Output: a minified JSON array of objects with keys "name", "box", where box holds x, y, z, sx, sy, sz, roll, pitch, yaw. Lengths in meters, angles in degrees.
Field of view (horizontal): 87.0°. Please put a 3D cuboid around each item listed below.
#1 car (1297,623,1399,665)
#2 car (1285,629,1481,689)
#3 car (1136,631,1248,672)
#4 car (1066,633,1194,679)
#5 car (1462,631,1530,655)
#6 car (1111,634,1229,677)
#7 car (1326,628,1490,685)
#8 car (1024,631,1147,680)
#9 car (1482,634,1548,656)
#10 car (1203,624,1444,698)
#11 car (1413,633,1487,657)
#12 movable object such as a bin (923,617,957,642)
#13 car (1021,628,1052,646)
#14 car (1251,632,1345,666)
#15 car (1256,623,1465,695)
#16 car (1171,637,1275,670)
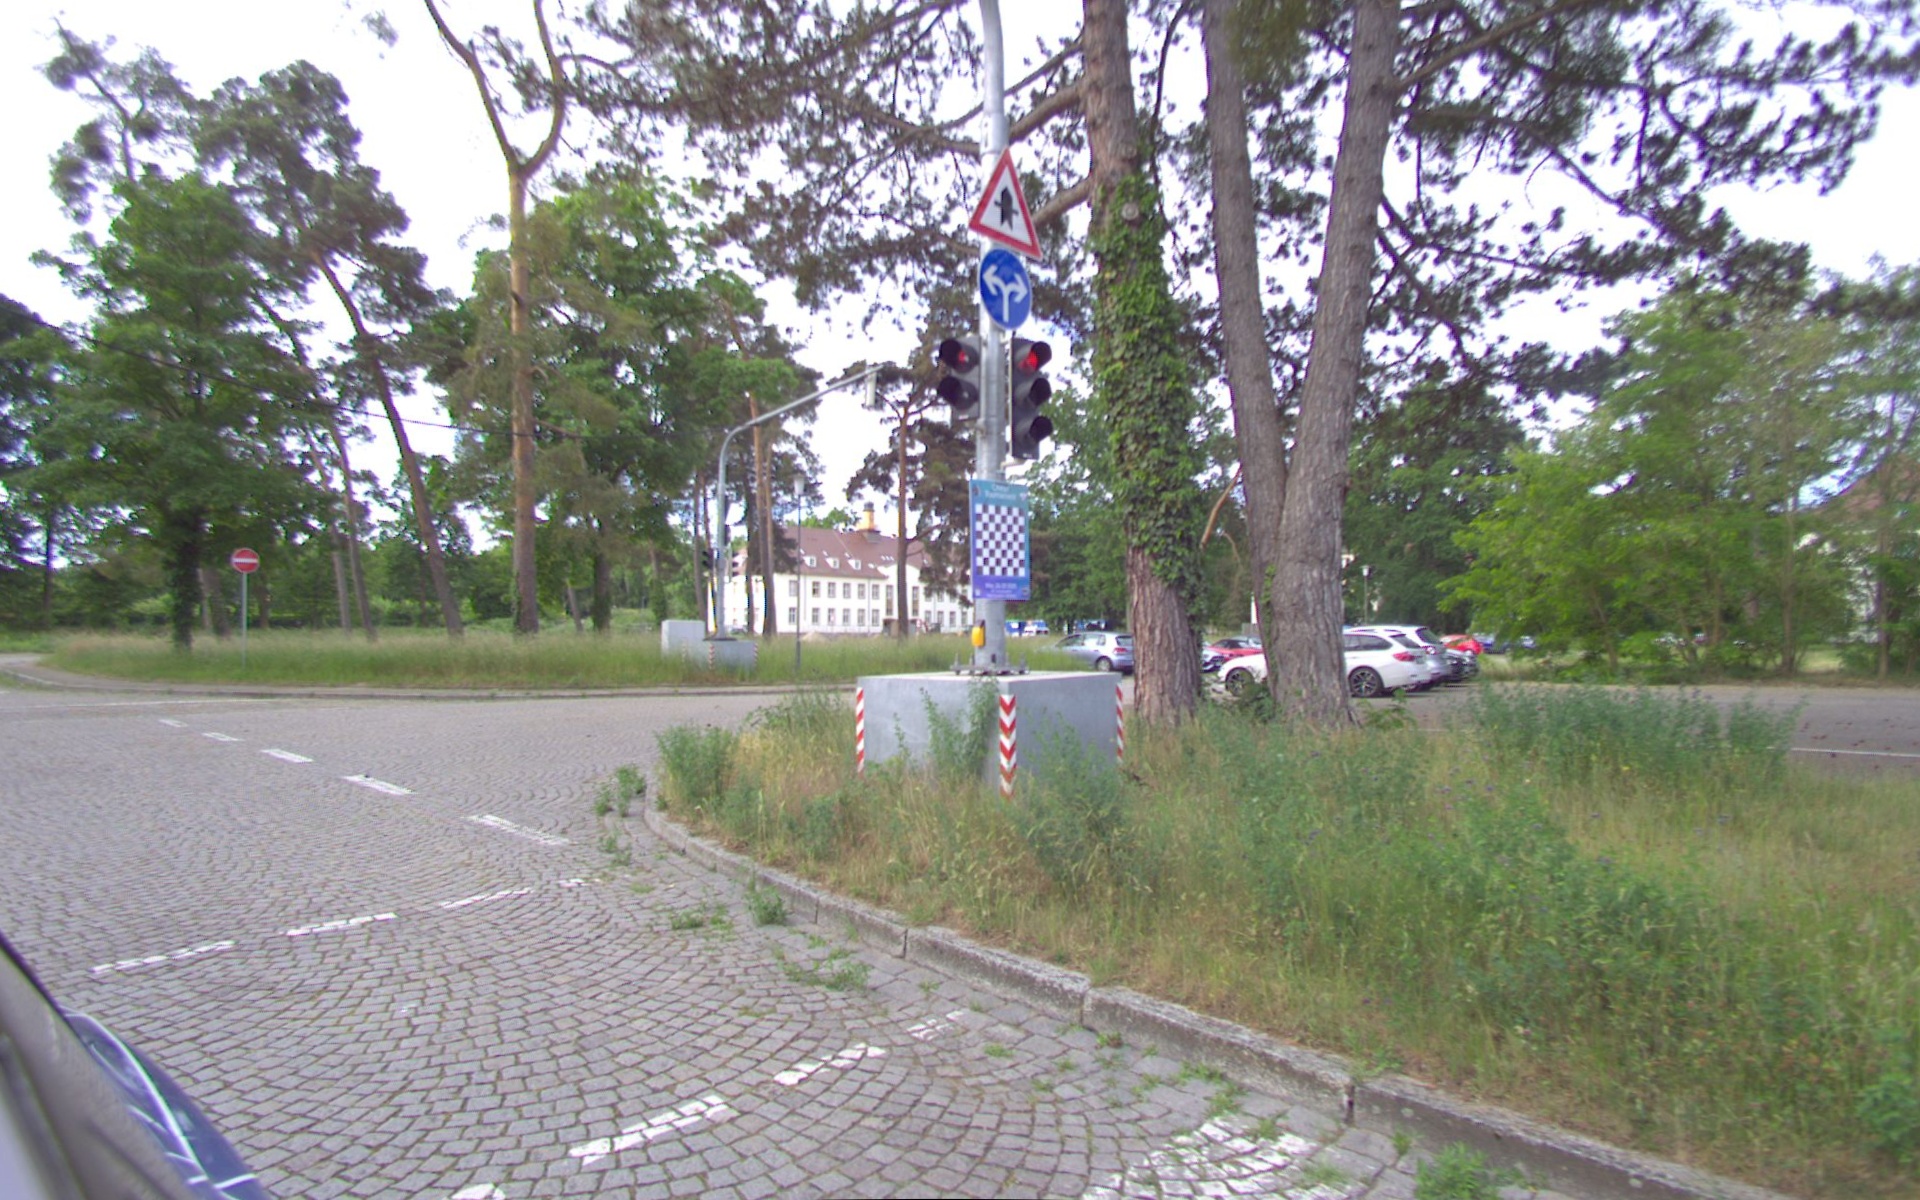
[{"name":"car","box":[20.211,2.253,52.869,4.608,2.021,1.884,0,-1,45]},{"name":"car","box":[11.154,1.599,26.886,4.446,1.435,1.699,-5,-4,41]},{"name":"car","box":[9.437,2.064,41.322,4.187,1.493,1.693,0,-2,43]},{"name":"car","box":[6.216,2.022,37.285,4.441,1.394,1.641,2,0,41]},{"name":"car","box":[39.521,3.151,74.696,1.699,1.708,4.094,2,-2,-40]},{"name":"car","box":[8.101,2.105,39.225,1.692,1.485,4.253,2,-2,-45]},{"name":"car","box":[12.768,1.642,28.985,3.959,1.481,1.564,-5,-4,40]},{"name":"car","box":[4.364,1.909,35.472,4.012,1.439,1.674,2,0,41]},{"name":"car","box":[42.751,3.463,77.996,1.699,1.545,4.104,2,-2,-40]},{"name":"car","box":[8.069,1.385,22.767,4.751,1.499,1.841,-4,-5,40]},{"name":"car","box":[32.529,2.994,67.266,4.089,1.455,1.701,0,-2,44]},{"name":"movable object such as a bin","box":[-3.039,4.489,153.260,2.022,3.799,5.468,1,-3,-44]},{"name":"car","box":[10.388,5.034,137.794,1.863,2.382,4.385,-3,-3,42]},{"name":"car","box":[16.383,2.340,49.131,1.577,1.528,4.056,2,-2,-45]},{"name":"car","box":[9.699,1.440,24.687,4.369,1.610,1.849,-3,-4,37]},{"name":"car","box":[11.068,2.216,42.744,4.054,1.250,1.527,0,-2,43]}]
